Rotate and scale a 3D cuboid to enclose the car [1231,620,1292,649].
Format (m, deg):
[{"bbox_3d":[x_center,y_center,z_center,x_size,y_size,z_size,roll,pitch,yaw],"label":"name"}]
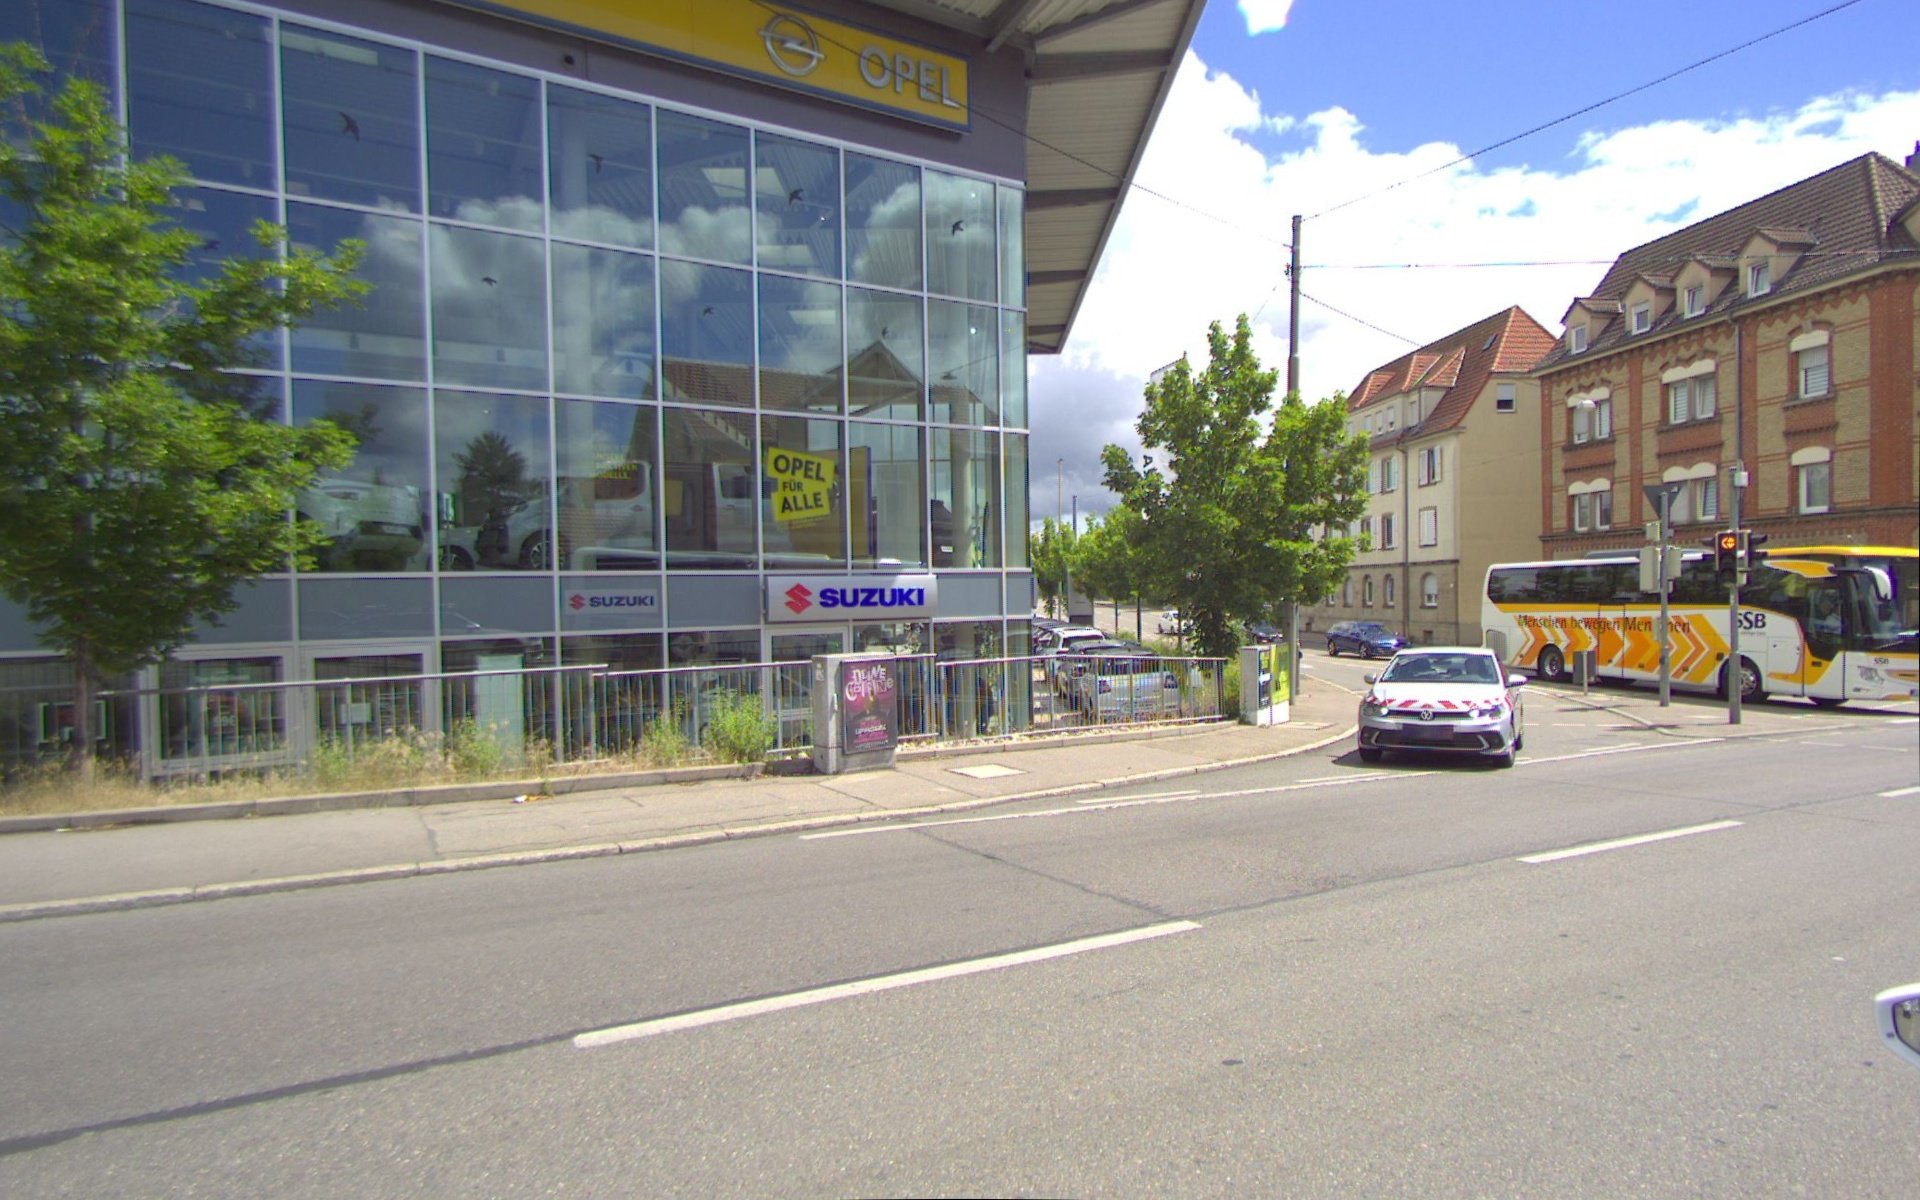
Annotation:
[{"bbox_3d":[15.915,1.789,53.267,1.874,1.428,3.999,1,-1,-2],"label":"car"}]

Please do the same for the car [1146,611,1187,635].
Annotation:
[{"bbox_3d":[14.142,1.557,68.886,1.874,1.574,3.999,1,-1,-2],"label":"car"}]

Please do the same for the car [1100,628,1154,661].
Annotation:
[{"bbox_3d":[8.109,2.149,48.931,1.766,1.467,3.498,1,-1,-5],"label":"car"}]

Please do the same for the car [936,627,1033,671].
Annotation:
[{"bbox_3d":[0.849,1.781,36.946,3.432,1.467,1.799,-1,0,-3],"label":"car"}]

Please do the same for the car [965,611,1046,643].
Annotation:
[{"bbox_3d":[2.361,1.402,52.793,3.930,1.574,1.804,1,-1,-12],"label":"car"}]

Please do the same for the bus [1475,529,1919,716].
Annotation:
[{"bbox_3d":[18.509,0.519,26.099,2.720,3.670,12.251,1,-1,-7],"label":"bus"}]

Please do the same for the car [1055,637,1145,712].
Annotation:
[{"bbox_3d":[3.351,1.751,24.545,1.584,1.547,3.499,-1,0,-2],"label":"car"}]

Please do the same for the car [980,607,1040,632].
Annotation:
[{"bbox_3d":[3.345,1.317,67.558,3.922,1.574,1.807,1,-1,-1],"label":"car"}]

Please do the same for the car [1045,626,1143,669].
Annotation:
[{"bbox_3d":[4.967,1.751,37.470,3.430,1.497,1.800,1,-1,1],"label":"car"}]

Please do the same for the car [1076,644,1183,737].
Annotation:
[{"bbox_3d":[3.344,1.758,20.387,1.648,1.582,3.365,-1,0,1],"label":"car"}]

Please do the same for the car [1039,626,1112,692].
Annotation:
[{"bbox_3d":[3.285,1.654,29.177,1.620,1.703,3.499,-1,0,-2],"label":"car"}]

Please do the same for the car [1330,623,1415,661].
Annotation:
[{"bbox_3d":[16.927,1.688,41.405,1.717,1.428,3.999,1,-1,-3],"label":"car"}]

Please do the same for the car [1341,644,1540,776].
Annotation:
[{"bbox_3d":[6.379,1.331,13.130,1.853,1.436,3.611,-4,-4,33],"label":"car"}]

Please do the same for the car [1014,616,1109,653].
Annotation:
[{"bbox_3d":[4.543,1.545,45.157,3.925,1.574,1.806,1,-1,-7],"label":"car"}]
